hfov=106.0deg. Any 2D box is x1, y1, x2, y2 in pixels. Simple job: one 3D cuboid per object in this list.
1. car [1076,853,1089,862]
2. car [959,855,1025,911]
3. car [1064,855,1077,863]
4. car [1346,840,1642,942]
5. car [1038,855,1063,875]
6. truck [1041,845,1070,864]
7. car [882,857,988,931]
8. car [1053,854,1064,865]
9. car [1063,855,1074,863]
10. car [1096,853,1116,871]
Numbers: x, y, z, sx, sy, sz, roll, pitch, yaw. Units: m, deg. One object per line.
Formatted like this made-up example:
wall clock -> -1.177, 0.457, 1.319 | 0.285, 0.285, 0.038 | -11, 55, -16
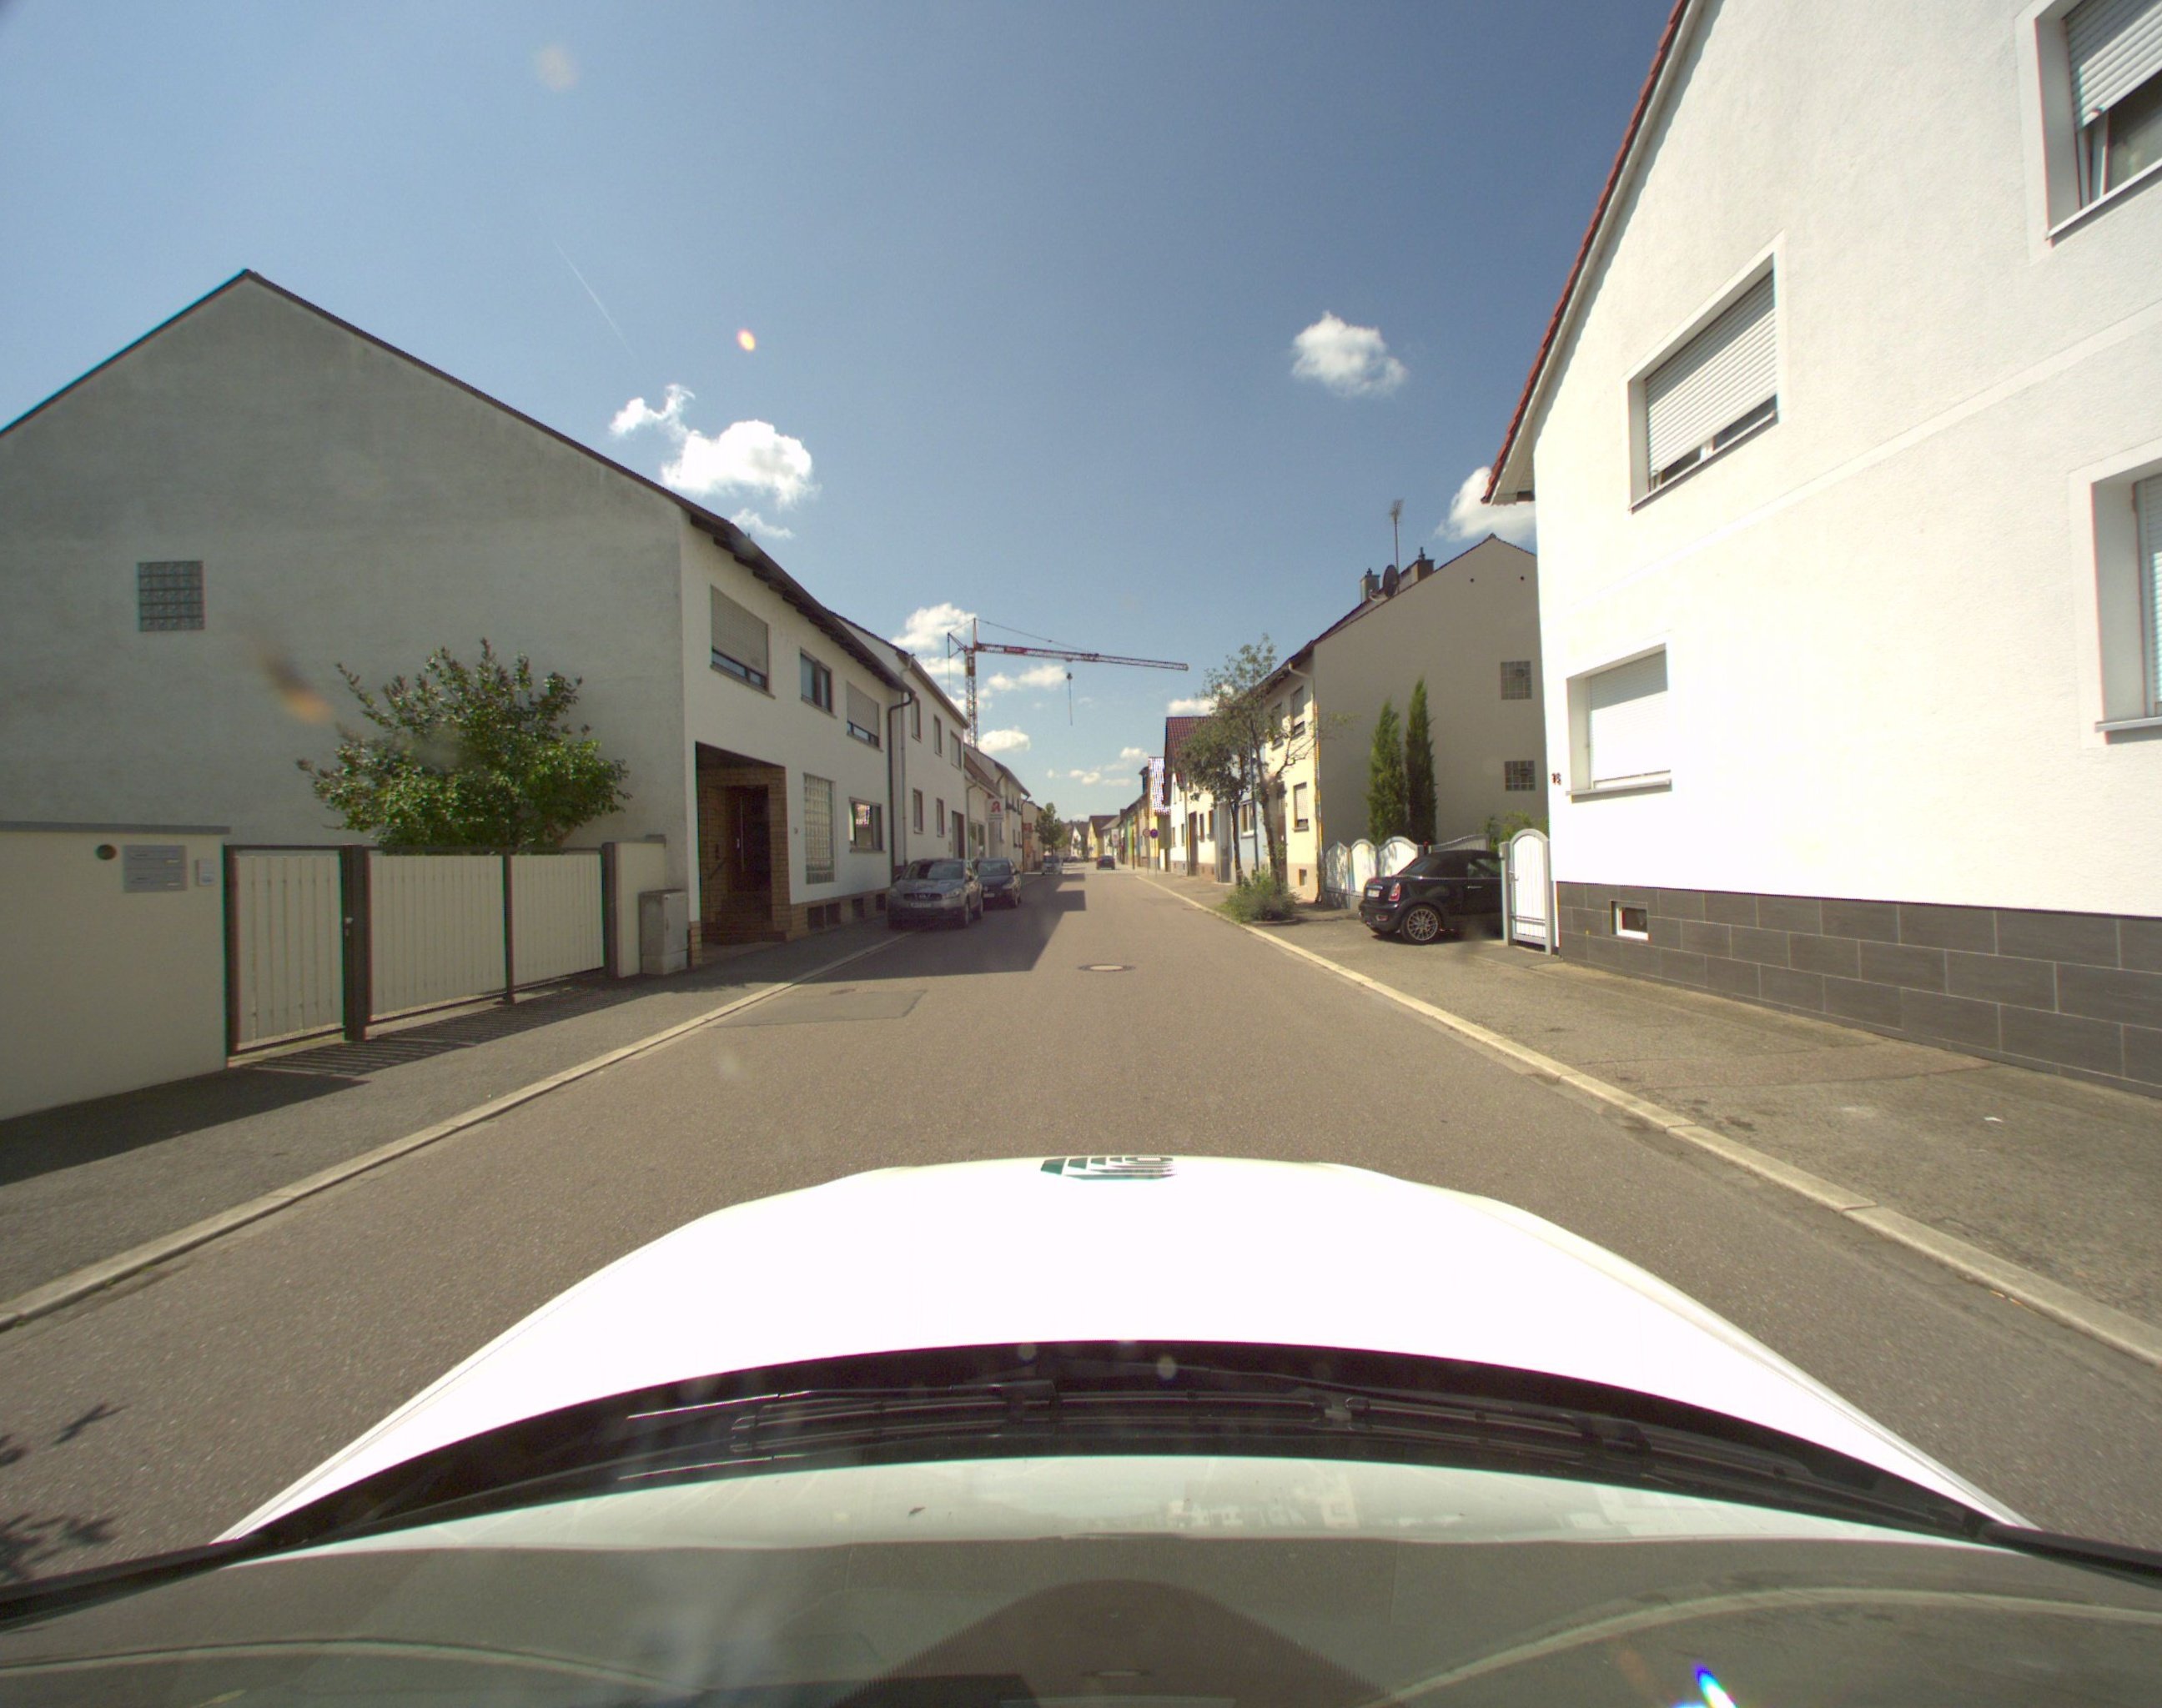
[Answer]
car -> 0.309, 0.832, 172.484 | 1.787, 1.753, 4.205 | -2, 0, -16
car -> -2.788, 0.874, 26.324 | 1.648, 1.609, 4.060 | -2, 0, 0
car -> -2.288, 1.139, 182.083 | 1.825, 1.753, 4.206 | -2, 0, -15
car -> 6.546, 0.566, 13.236 | 3.908, 1.415, 1.741 | -2, 0, 1
car -> -2.436, 0.845, 65.726 | 1.717, 1.555, 4.173 | 0, 0, 1
truck -> -5.910, 0.222, 183.891 | 3.384, 3.865, 13.856 | -2, 0, -14
car -> -3.404, 0.878, 19.801 | 1.753, 1.525, 4.288 | -2, 0, 0
car -> -3.782, 0.940, 134.604 | 1.731, 1.687, 4.227 | 0, 0, -3
car -> -2.964, 1.174, 189.885 | 1.823, 1.753, 4.211 | -2, 0, -12
car -> 2.564, 0.793, 83.764 | 1.777, 1.753, 3.999 | -2, 0, -1
